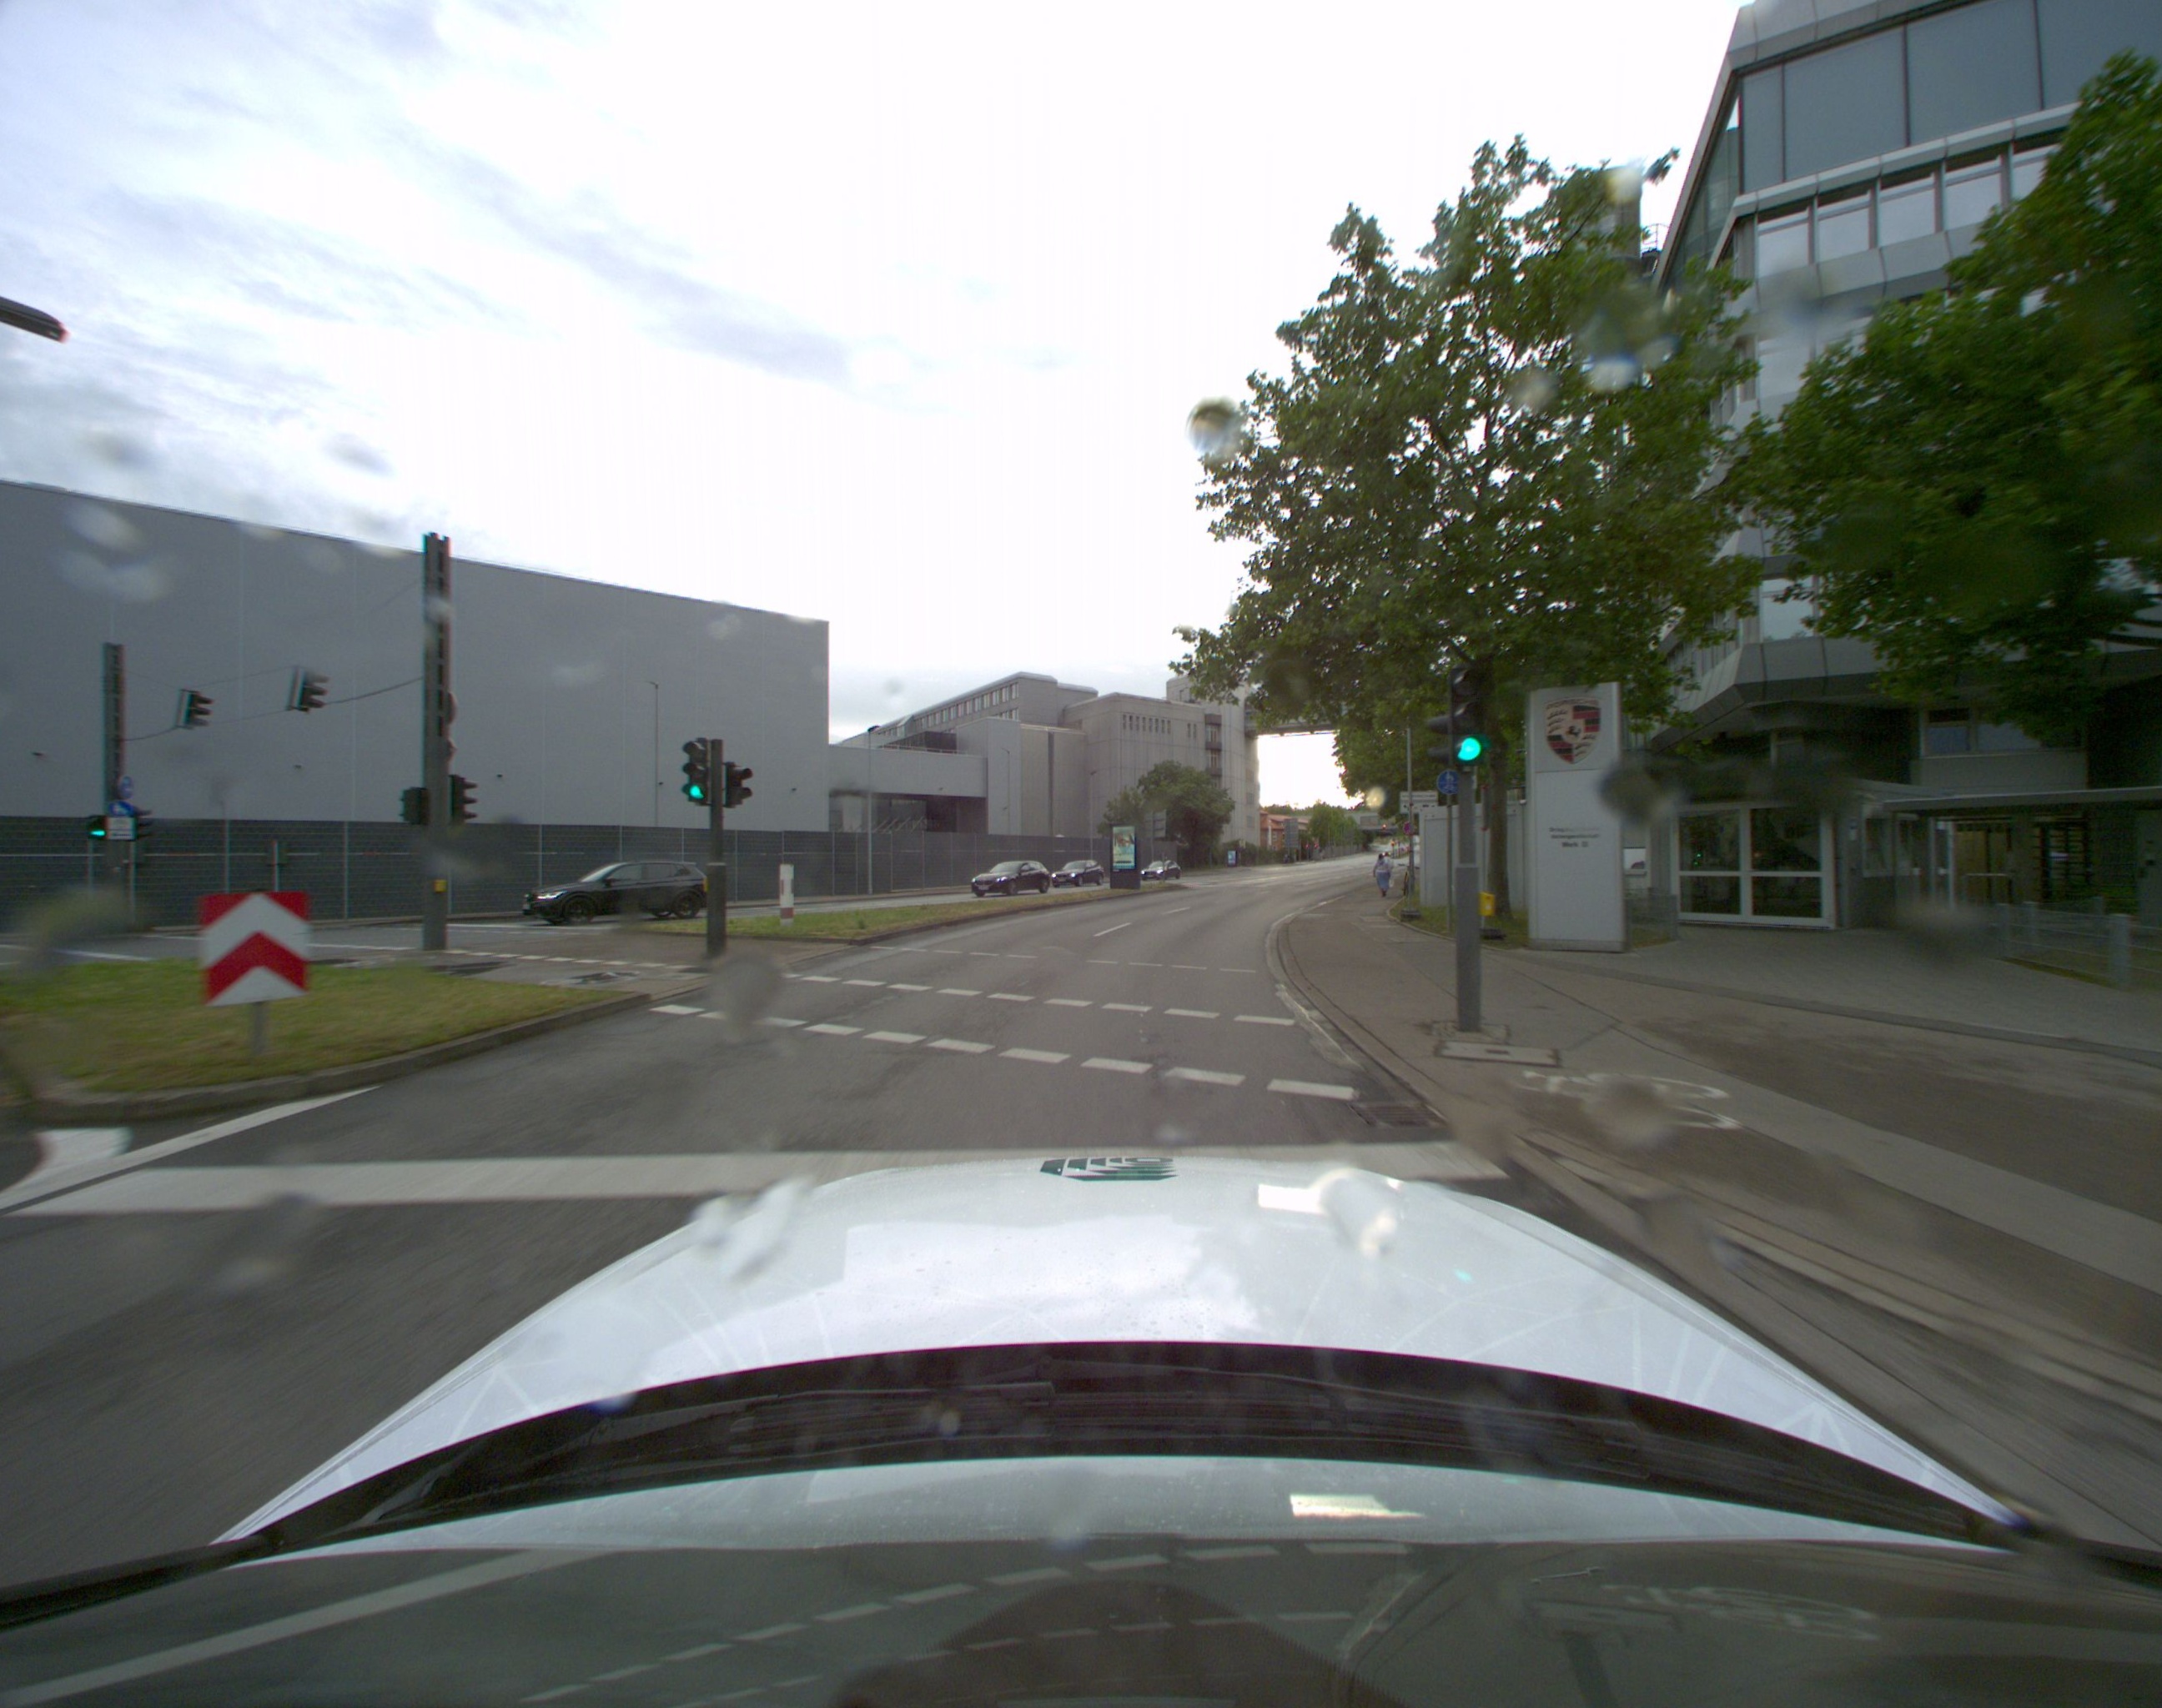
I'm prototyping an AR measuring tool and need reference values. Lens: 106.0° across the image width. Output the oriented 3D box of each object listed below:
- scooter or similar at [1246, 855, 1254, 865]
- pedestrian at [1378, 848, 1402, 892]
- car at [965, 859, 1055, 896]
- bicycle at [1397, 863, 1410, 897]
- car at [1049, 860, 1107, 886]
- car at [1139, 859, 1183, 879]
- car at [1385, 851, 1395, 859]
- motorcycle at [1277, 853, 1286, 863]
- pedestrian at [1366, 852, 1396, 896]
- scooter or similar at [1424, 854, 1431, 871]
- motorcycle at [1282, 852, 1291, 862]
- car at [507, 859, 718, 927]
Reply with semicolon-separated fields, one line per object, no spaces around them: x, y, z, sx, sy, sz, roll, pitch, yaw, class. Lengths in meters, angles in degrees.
22.390;0.763;107.700;0.519;1.252;1.810;-1;0;30;scooter or similar
11.565;0.596;30.493;0.702;1.592;0.846;-1;-1;29;pedestrian
-3.002;0.973;35.335;1.766;1.440;4.422;-1;0;28;car
11.223;0.886;28.356;0.338;1.118;1.983;-1;0;19;bicycle
-0.123;1.106;48.908;1.767;1.454;4.586;-2;-1;24;car
6.026;1.104;60.786;1.766;1.385;4.572;-3;-1;25;car
71.497;0.164;188.258;1.976;1.772;4.021;-1;0;21;car
32.180;0.609;130.473;0.905;1.532;3.318;-1;0;23;motorcycle
10.541;0.707;28.629;0.823;1.520;0.847;-1;-1;32;pedestrian
26.915;0.633;63.278;0.429;1.270;1.201;-1;0;25;scooter or similar
34.016;0.511;134.494;0.950;1.556;3.318;-1;0;23;motorcycle
-12.469;0.951;21.940;1.765;1.588;4.595;-1;0;40;car
